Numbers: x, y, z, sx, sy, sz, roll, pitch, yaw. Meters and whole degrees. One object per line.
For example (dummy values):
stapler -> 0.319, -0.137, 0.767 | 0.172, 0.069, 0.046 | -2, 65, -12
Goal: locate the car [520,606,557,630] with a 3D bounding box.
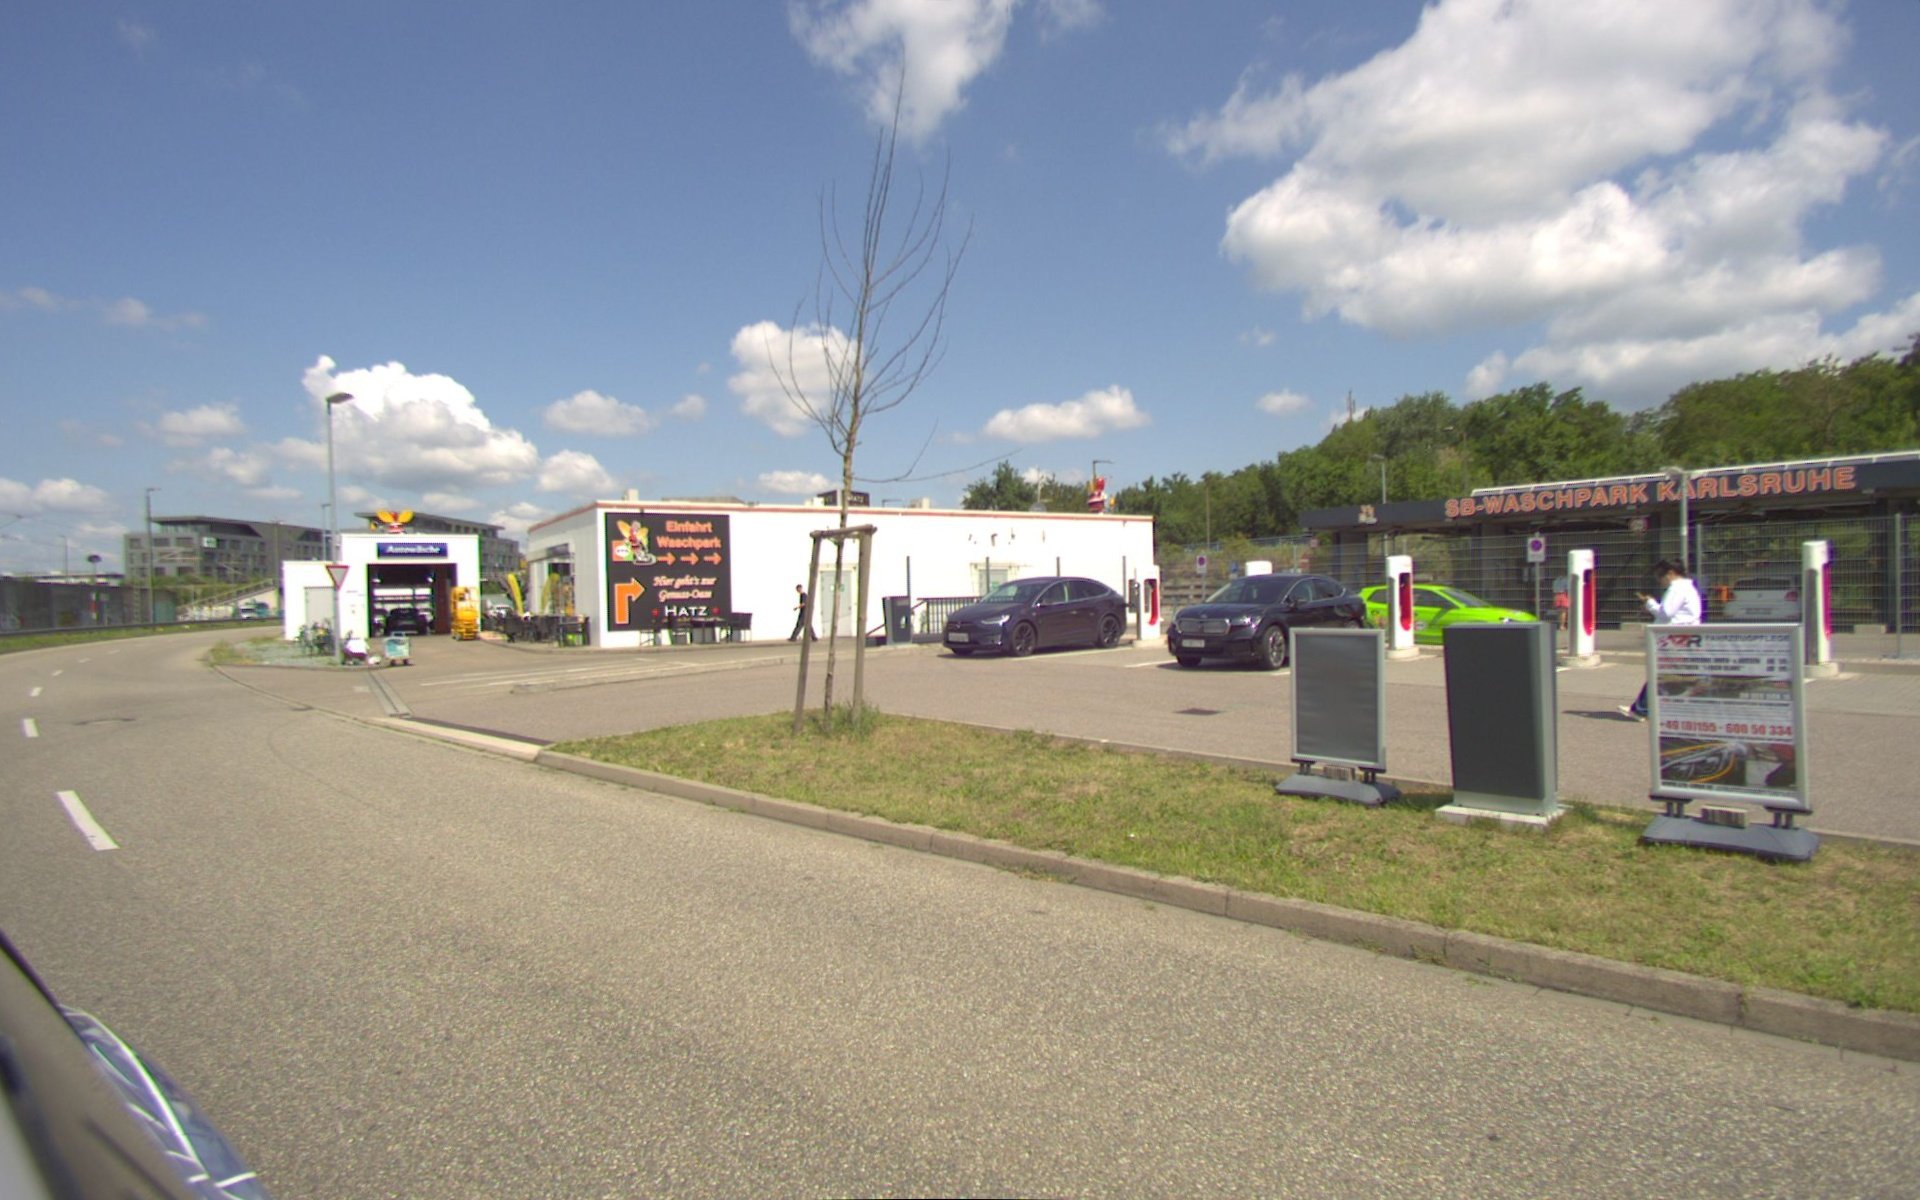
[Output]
car -> -33.095, 1.369, 79.338 | 1.966, 1.780, 4.611 | -1, 0, -32

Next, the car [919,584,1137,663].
car -> 1.596, 0.463, 22.357 | 2.239, 1.466, 4.692 | -2, 0, 45

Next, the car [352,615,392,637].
car -> -42.662, 1.867, 73.375 | 1.892, 1.388, 4.802 | -3, 1, -37

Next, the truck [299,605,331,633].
truck -> -81.811, 2.362, 128.295 | 2.946, 3.445, 8.133 | -1, 0, -36

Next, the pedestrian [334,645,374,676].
pedestrian -> -16.463, 1.625, 27.482 | 0.851, 0.766, 0.820 | -2, 0, -35

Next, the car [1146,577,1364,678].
car -> 5.297, 0.407, 17.956 | 3.940, 1.530, 2.002 | -2, 1, -44

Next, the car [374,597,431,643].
car -> -27.556, 0.946, 49.948 | 1.967, 2.125, 5.023 | -1, 0, -34

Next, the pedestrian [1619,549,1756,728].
pedestrian -> 7.223, 0.357, 10.048 | 0.941, 1.666, 0.852 | -2, 0, 45

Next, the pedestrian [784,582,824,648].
pedestrian -> -4.974, 0.455, 32.236 | 0.864, 2.028, 0.928 | 1, 2, 40

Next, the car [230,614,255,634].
car -> -97.627, 3.206, 137.664 | 2.035, 2.545, 5.889 | -3, 2, -42

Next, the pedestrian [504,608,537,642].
pedestrian -> -17.868, 1.017, 41.164 | 0.864, 1.317, 0.928 | -2, 0, 40

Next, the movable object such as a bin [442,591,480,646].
movable object such as a bin -> -20.777, 0.716, 42.079 | 1.048, 2.168, 2.712 | -2, 2, -33

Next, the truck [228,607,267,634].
truck -> -103.772, 2.996, 147.311 | 6.878, 3.672, 2.623 | -1, 2, 38

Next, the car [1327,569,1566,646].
car -> 10.524, 0.151, 22.149 | 1.892, 1.493, 4.307 | -2, 1, -40

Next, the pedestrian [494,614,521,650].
pedestrian -> -16.586, 1.159, 37.070 | 0.743, 1.266, 0.901 | -2, 0, -32

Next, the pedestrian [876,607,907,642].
pedestrian -> -2.390, 0.846, 35.266 | 0.842, 1.174, 0.702 | 1, 2, 40

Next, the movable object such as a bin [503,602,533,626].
movable object such as a bin -> -42.284, 1.321, 96.835 | 1.616, 2.121, 2.373 | -3, 0, 5

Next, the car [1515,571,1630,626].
car -> 18.687, -0.065, 30.827 | 3.939, 1.574, 2.002 | -1, 0, -43

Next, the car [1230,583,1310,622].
car -> 16.729, 0.114, 54.610 | 3.932, 2.029, 2.006 | -1, 0, -32

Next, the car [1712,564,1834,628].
car -> 21.767, -0.111, 27.047 | 3.939, 1.574, 2.002 | -1, 0, -43
